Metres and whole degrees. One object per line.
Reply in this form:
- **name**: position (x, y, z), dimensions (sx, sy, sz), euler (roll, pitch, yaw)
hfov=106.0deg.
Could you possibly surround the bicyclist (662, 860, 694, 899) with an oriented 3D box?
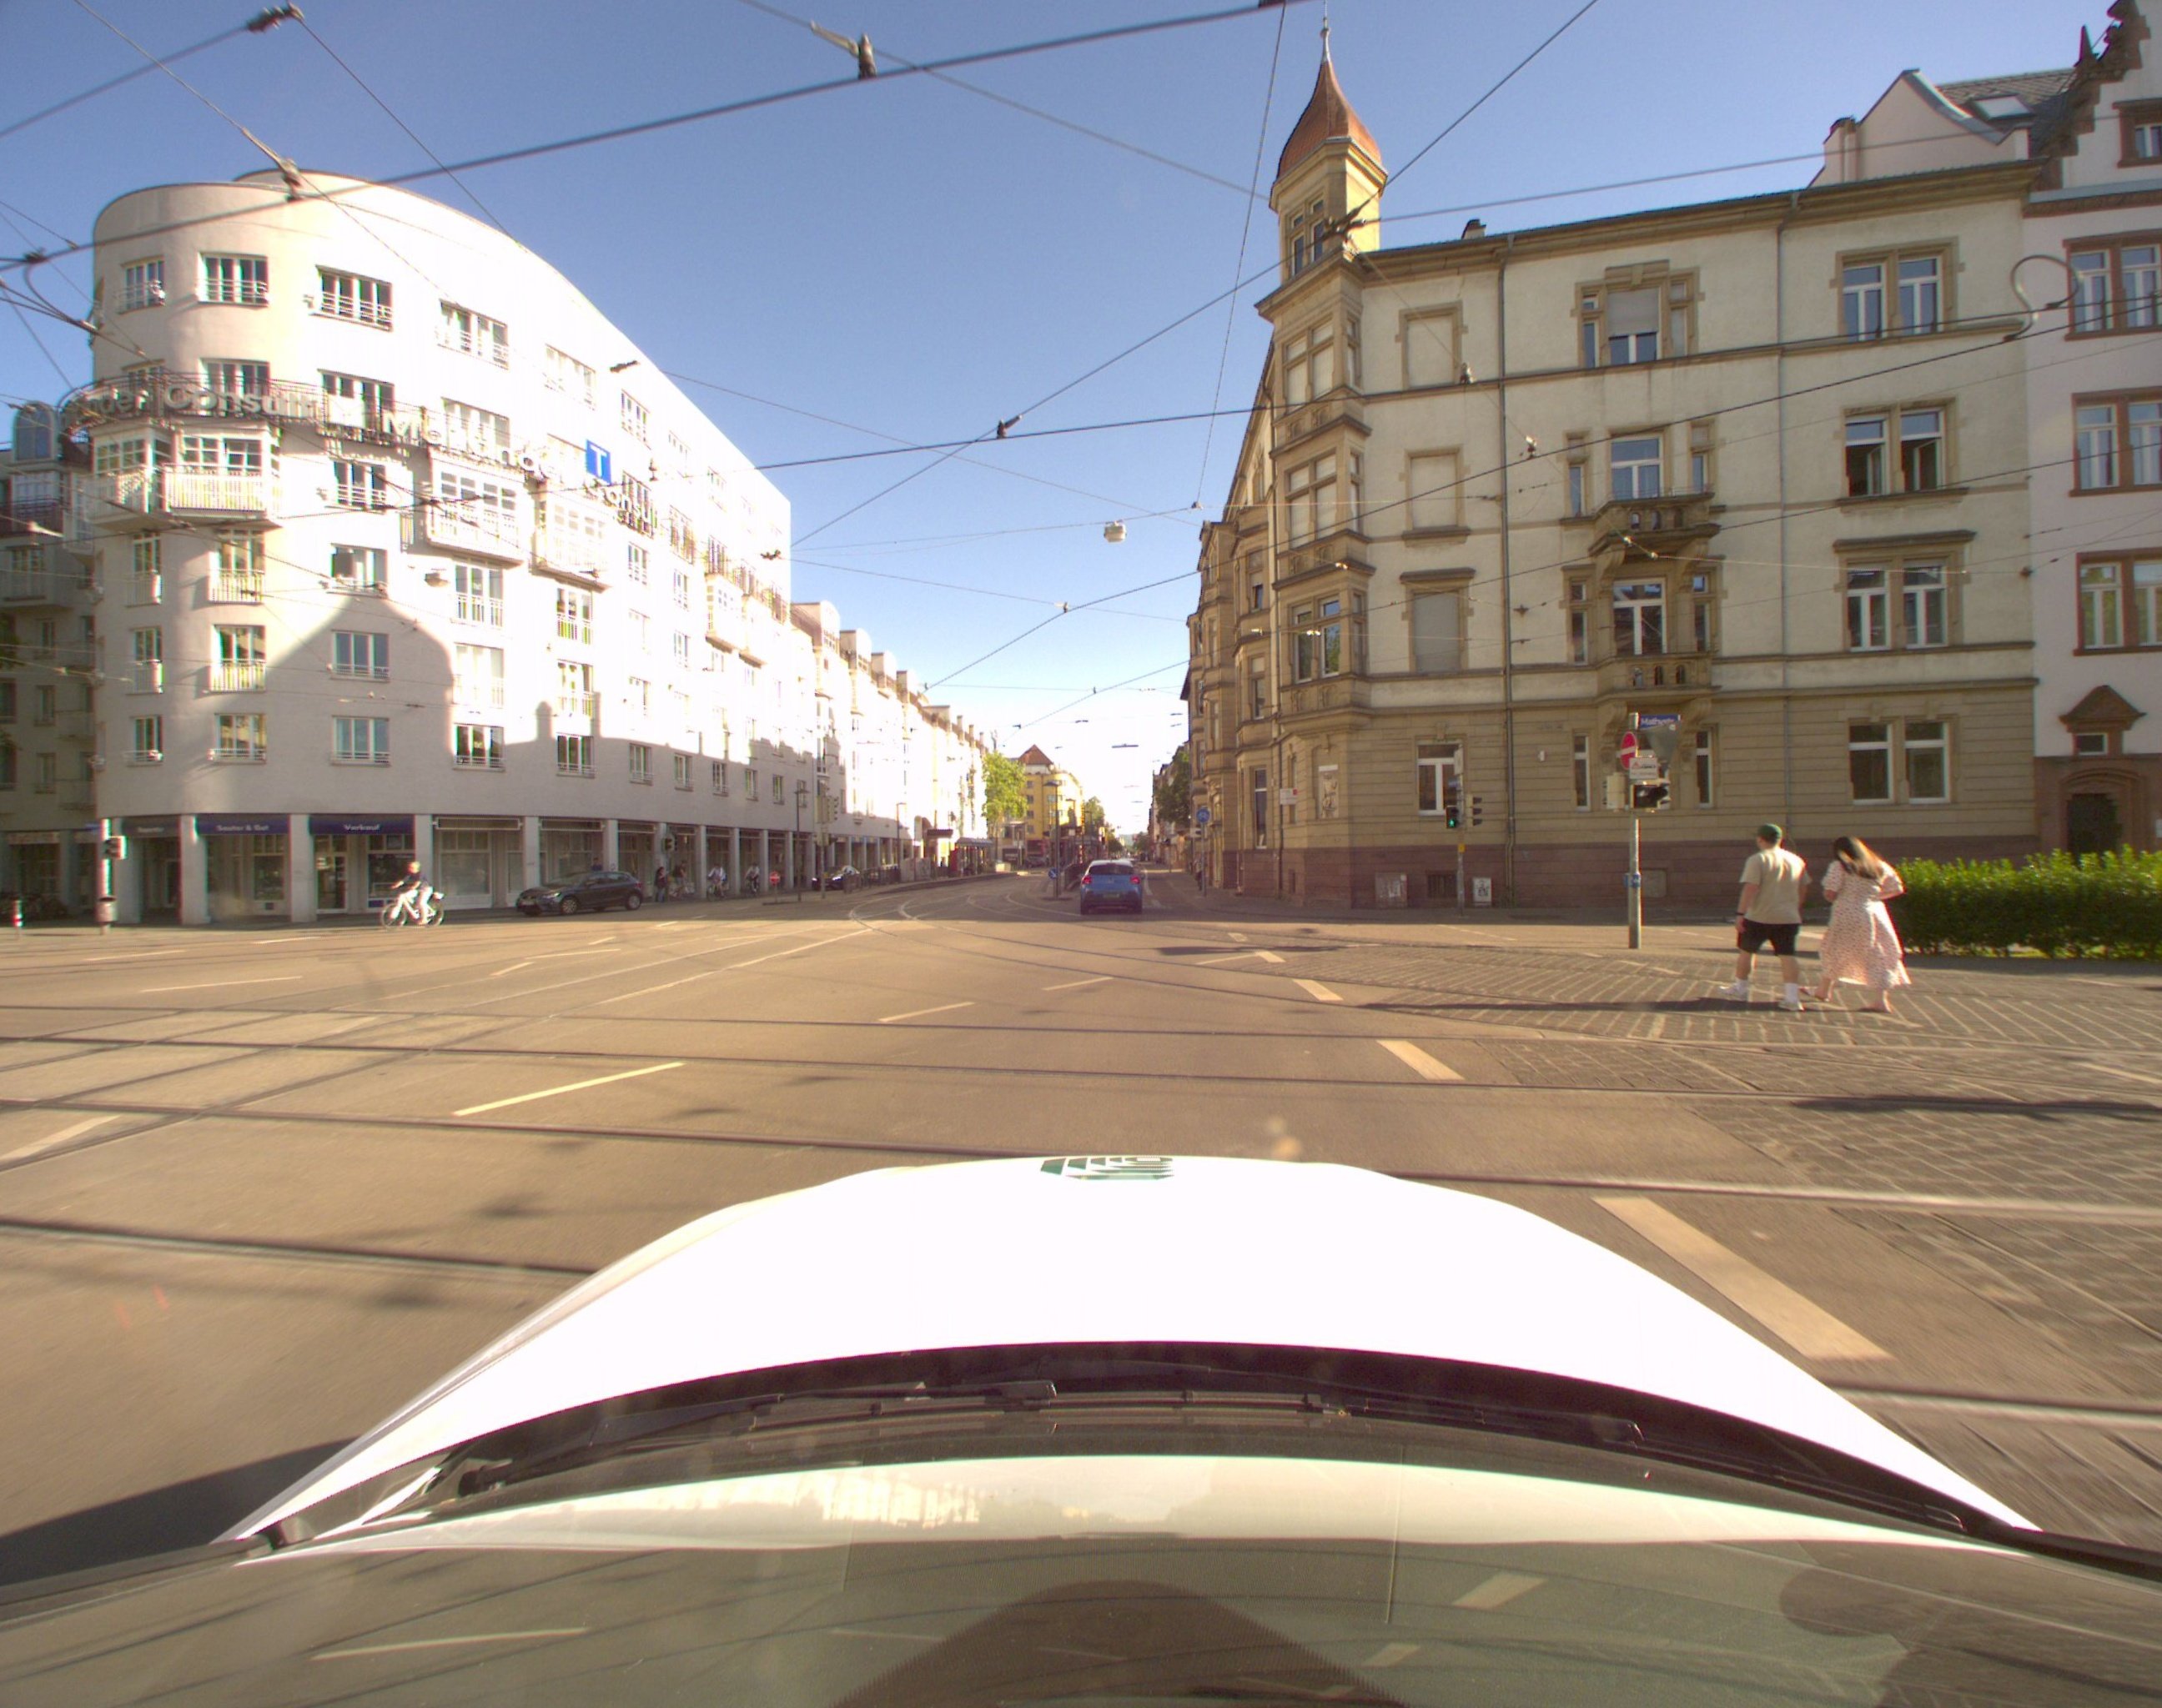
- **bicyclist**: position (-18.157, 1.139, 36.715), dimensions (0.715, 1.695, 1.036), euler (0, 1, 32)

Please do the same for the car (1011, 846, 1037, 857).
- **car**: position (-8.841, -0.403, 126.494), dimensions (3.973, 1.674, 1.958), euler (0, 2, 0)

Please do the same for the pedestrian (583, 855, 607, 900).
- **pedestrian**: position (-20.462, 0.961, 34.273), dimensions (0.458, 1.832, 0.747), euler (0, 3, 7)

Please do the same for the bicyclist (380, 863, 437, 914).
- **bicyclist**: position (-17.583, 0.886, 21.326), dimensions (0.585, 1.285, 0.994), euler (-1, 0, 8)

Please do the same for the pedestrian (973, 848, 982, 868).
- **pedestrian**: position (-10.358, 0.400, 81.656), dimensions (0.666, 2.013, 0.709), euler (1, 0, 5)

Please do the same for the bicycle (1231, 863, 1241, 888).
- **bicycle**: position (6.968, 0.964, 36.639), dimensions (0.254, 1.052, 1.771), euler (1, 1, 4)

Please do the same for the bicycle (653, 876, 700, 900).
- **bicycle**: position (-18.188, 1.511, 36.638), dimensions (0.669, 0.980, 1.773), euler (0, 2, 31)

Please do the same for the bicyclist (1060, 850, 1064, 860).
- **bicyclist**: position (-3.048, 0.119, 131.045), dimensions (0.669, 1.557, 0.779), euler (0, 2, 5)

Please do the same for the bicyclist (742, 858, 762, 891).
- **bicyclist**: position (-16.257, 0.991, 40.210), dimensions (0.586, 1.585, 0.896), euler (-1, 0, 2)

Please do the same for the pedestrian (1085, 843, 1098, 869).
- **pedestrian**: position (0.707, 0.108, 54.422), dimensions (0.632, 1.697, 0.936), euler (1, 0, 11)

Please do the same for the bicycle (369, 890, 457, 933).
- **bicycle**: position (-17.542, 1.496, 21.448), dimensions (0.590, 0.972, 1.859), euler (-1, 1, 8)

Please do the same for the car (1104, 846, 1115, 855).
- **car**: position (5.725, -0.676, 163.513), dimensions (1.984, 1.742, 4.005), euler (1, 1, 4)

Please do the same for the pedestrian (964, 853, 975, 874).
- **pedestrian**: position (-8.527, 0.725, 62.440), dimensions (0.728, 1.527, 0.743), euler (0, 2, 3)

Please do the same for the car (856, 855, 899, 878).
- **car**: position (-14.465, 0.859, 58.142), dimensions (1.721, 1.514, 4.409), euler (0, 1, 3)

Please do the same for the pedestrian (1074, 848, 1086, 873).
- **pedestrian**: position (-0.079, 0.459, 59.445), dimensions (0.710, 1.777, 0.569), euler (0, 2, 40)

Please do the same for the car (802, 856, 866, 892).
- **car**: position (-14.734, 1.174, 48.944), dimensions (2.218, 1.910, 4.613), euler (0, 1, 3)

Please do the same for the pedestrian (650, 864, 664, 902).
- **pedestrian**: position (-17.931, 1.231, 34.456), dimensions (0.444, 1.533, 0.677), euler (-2, 3, -33)

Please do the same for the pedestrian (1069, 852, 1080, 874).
- **pedestrian**: position (-0.470, 0.645, 58.667), dimensions (0.579, 1.561, 0.473), euler (0, 2, 40)

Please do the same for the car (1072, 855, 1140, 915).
- **car**: position (0.788, 0.820, 23.344), dimensions (1.773, 1.450, 3.659), euler (1, 2, 4)

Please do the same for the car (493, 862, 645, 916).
- **car**: position (-17.080, 1.113, 27.412), dimensions (1.979, 1.596, 4.017), euler (-1, 1, 15)

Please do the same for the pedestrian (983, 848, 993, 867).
- **pedestrian**: position (-7.597, 0.293, 66.619), dimensions (0.728, 1.558, 0.743), euler (0, 2, 3)

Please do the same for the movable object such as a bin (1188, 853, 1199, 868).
- **movable object such as a bin**: position (8.409, 0.505, 61.014), dimensions (0.745, 1.036, 0.754), euler (-4, 1, 4)

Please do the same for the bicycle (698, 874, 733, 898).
- **bicycle**: position (-16.257, 1.419, 36.295), dimensions (0.591, 0.972, 2.013), euler (-1, 1, 2)

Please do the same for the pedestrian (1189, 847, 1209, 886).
- **pedestrian**: position (5.487, 0.567, 37.829), dimensions (0.777, 1.749, 1.094), euler (0, 3, 1)

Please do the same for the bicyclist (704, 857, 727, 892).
- **bicyclist**: position (-16.280, 0.901, 36.275), dimensions (0.586, 1.488, 0.928), euler (-1, 0, 2)

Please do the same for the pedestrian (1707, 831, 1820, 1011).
- **pedestrian**: position (6.589, 0.610, 7.898), dimensions (0.694, 1.654, 0.635), euler (-1, 0, 26)

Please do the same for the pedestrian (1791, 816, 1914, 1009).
- **pedestrian**: position (7.354, 0.521, 7.803), dimensions (0.637, 1.745, 0.709), euler (1, 0, 25)

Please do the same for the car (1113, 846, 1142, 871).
- **car**: position (3.425, 0.281, 58.902), dimensions (1.984, 1.742, 4.005), euler (1, 1, 4)

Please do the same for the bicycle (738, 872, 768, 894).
- **bicycle**: position (-16.232, 1.438, 40.398), dimensions (0.591, 0.972, 2.048), euler (-1, 1, 2)

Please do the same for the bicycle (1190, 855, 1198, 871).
- **bicycle**: position (8.160, 0.653, 59.001), dimensions (0.457, 1.123, 1.776), euler (-2, 1, 5)
